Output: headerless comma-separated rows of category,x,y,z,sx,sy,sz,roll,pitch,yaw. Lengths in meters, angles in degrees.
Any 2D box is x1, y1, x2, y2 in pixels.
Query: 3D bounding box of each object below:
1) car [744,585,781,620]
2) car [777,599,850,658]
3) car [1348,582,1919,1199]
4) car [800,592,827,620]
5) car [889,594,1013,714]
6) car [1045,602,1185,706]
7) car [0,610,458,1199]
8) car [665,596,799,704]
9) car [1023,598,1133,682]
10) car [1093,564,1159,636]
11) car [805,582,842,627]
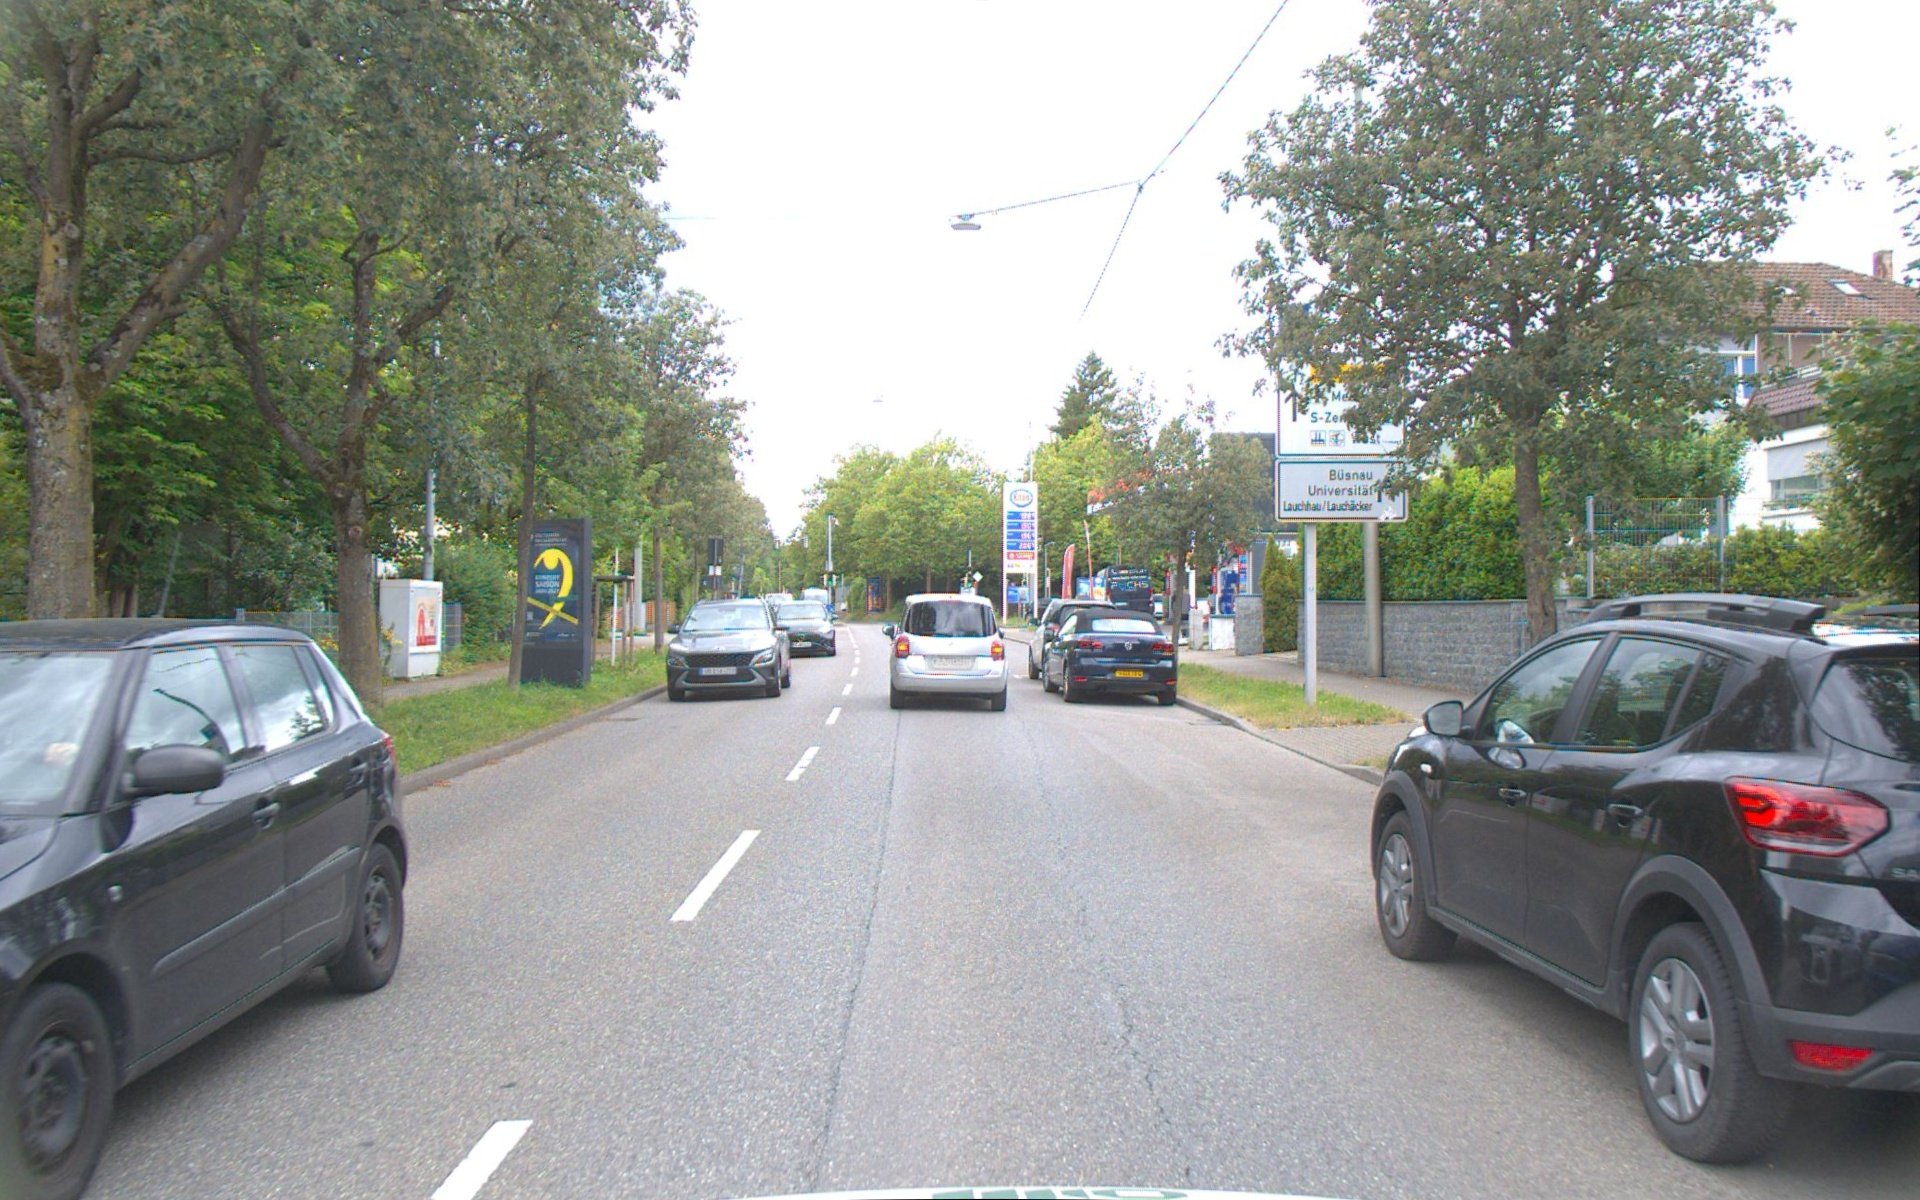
car,-11.882,0.155,99.696,1.896,2.049,3.998,0,0,-3
car,-3.913,0.738,44.610,1.661,1.532,3.644,0,0,-1
car,2.825,0.786,6.018,1.661,1.598,3.953,2,0,-3
car,-10.913,0.424,123.613,1.705,2.049,3.999,0,0,-1
car,-0.174,0.719,23.983,1.645,1.587,3.510,1,0,-2
car,2.403,0.799,26.470,1.661,1.532,3.970,0,0,-3
car,-2.945,0.831,5.223,1.513,1.496,3.742,-3,0,0
car,-3.668,0.759,27.191,1.757,1.583,3.670,-3,0,-2
car,2.230,0.729,32.037,1.661,1.532,3.642,0,0,-3
car,7.152,-0.006,71.738,2.235,2.962,5.278,1,0,-1
car,-7.565,0.247,91.746,1.896,2.450,3.998,0,0,-3
